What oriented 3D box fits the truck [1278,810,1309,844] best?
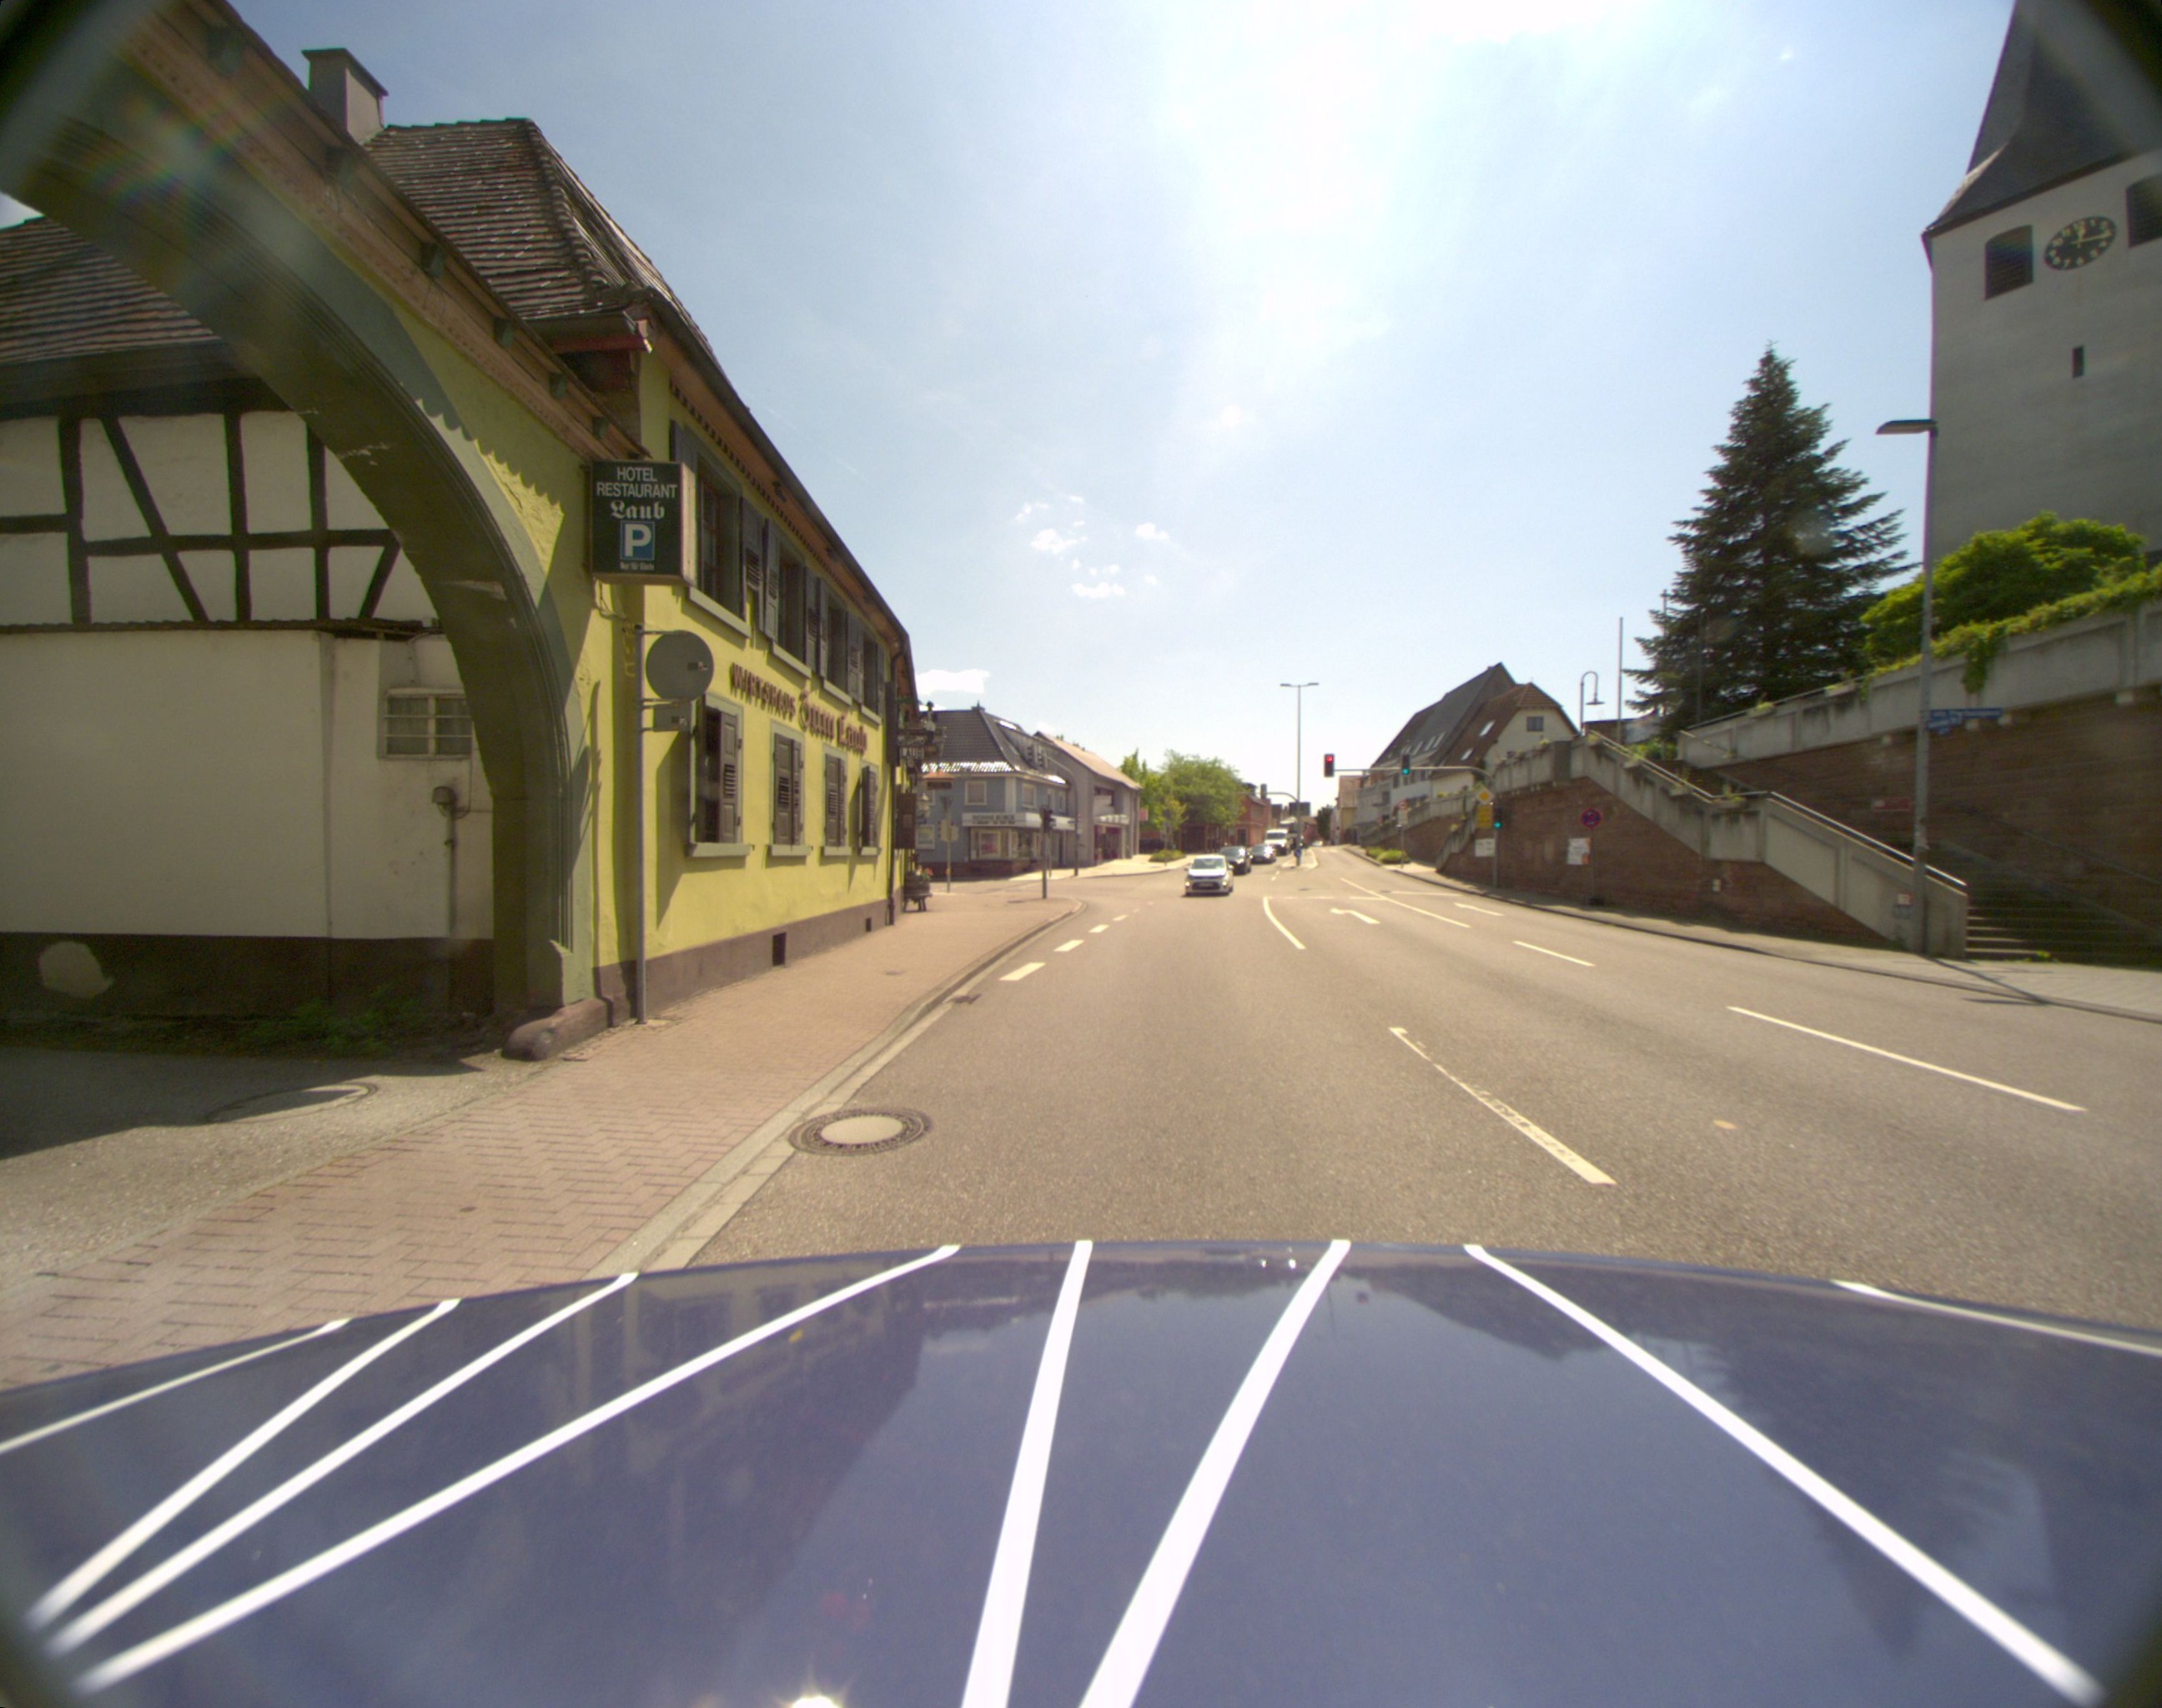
[{"bbox_3d":[22.957,-2.830,81.828,2.844,3.550,5.475,0,1,19],"label":"truck"}]

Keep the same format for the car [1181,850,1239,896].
[{"bbox_3d":[5.044,0.694,29.337,1.722,1.542,4.307,-2,1,16],"label":"car"}]

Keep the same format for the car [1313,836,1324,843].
[{"bbox_3d":[56.504,-3.422,180.692,2.008,1.621,4.585,0,1,24],"label":"car"}]

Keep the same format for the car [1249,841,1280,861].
[{"bbox_3d":[13.846,-0.256,57.221,1.926,1.358,4.308,-2,1,18],"label":"car"}]

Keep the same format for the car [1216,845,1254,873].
[{"bbox_3d":[9.227,0.266,45.440,1.722,1.542,4.308,-2,1,18],"label":"car"}]

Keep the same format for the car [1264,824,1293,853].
[{"bbox_3d":[18.052,-1.406,69.351,2.172,2.549,4.830,0,1,19],"label":"car"}]

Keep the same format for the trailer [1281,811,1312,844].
[{"bbox_3d":[25.100,-2.969,88.012,2.833,3.549,10.979,0,1,19],"label":"trailer"}]

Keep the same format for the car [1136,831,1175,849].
[{"bbox_3d":[7.753,-1.417,78.808,3.756,1.701,1.726,-2,1,13],"label":"car"}]
